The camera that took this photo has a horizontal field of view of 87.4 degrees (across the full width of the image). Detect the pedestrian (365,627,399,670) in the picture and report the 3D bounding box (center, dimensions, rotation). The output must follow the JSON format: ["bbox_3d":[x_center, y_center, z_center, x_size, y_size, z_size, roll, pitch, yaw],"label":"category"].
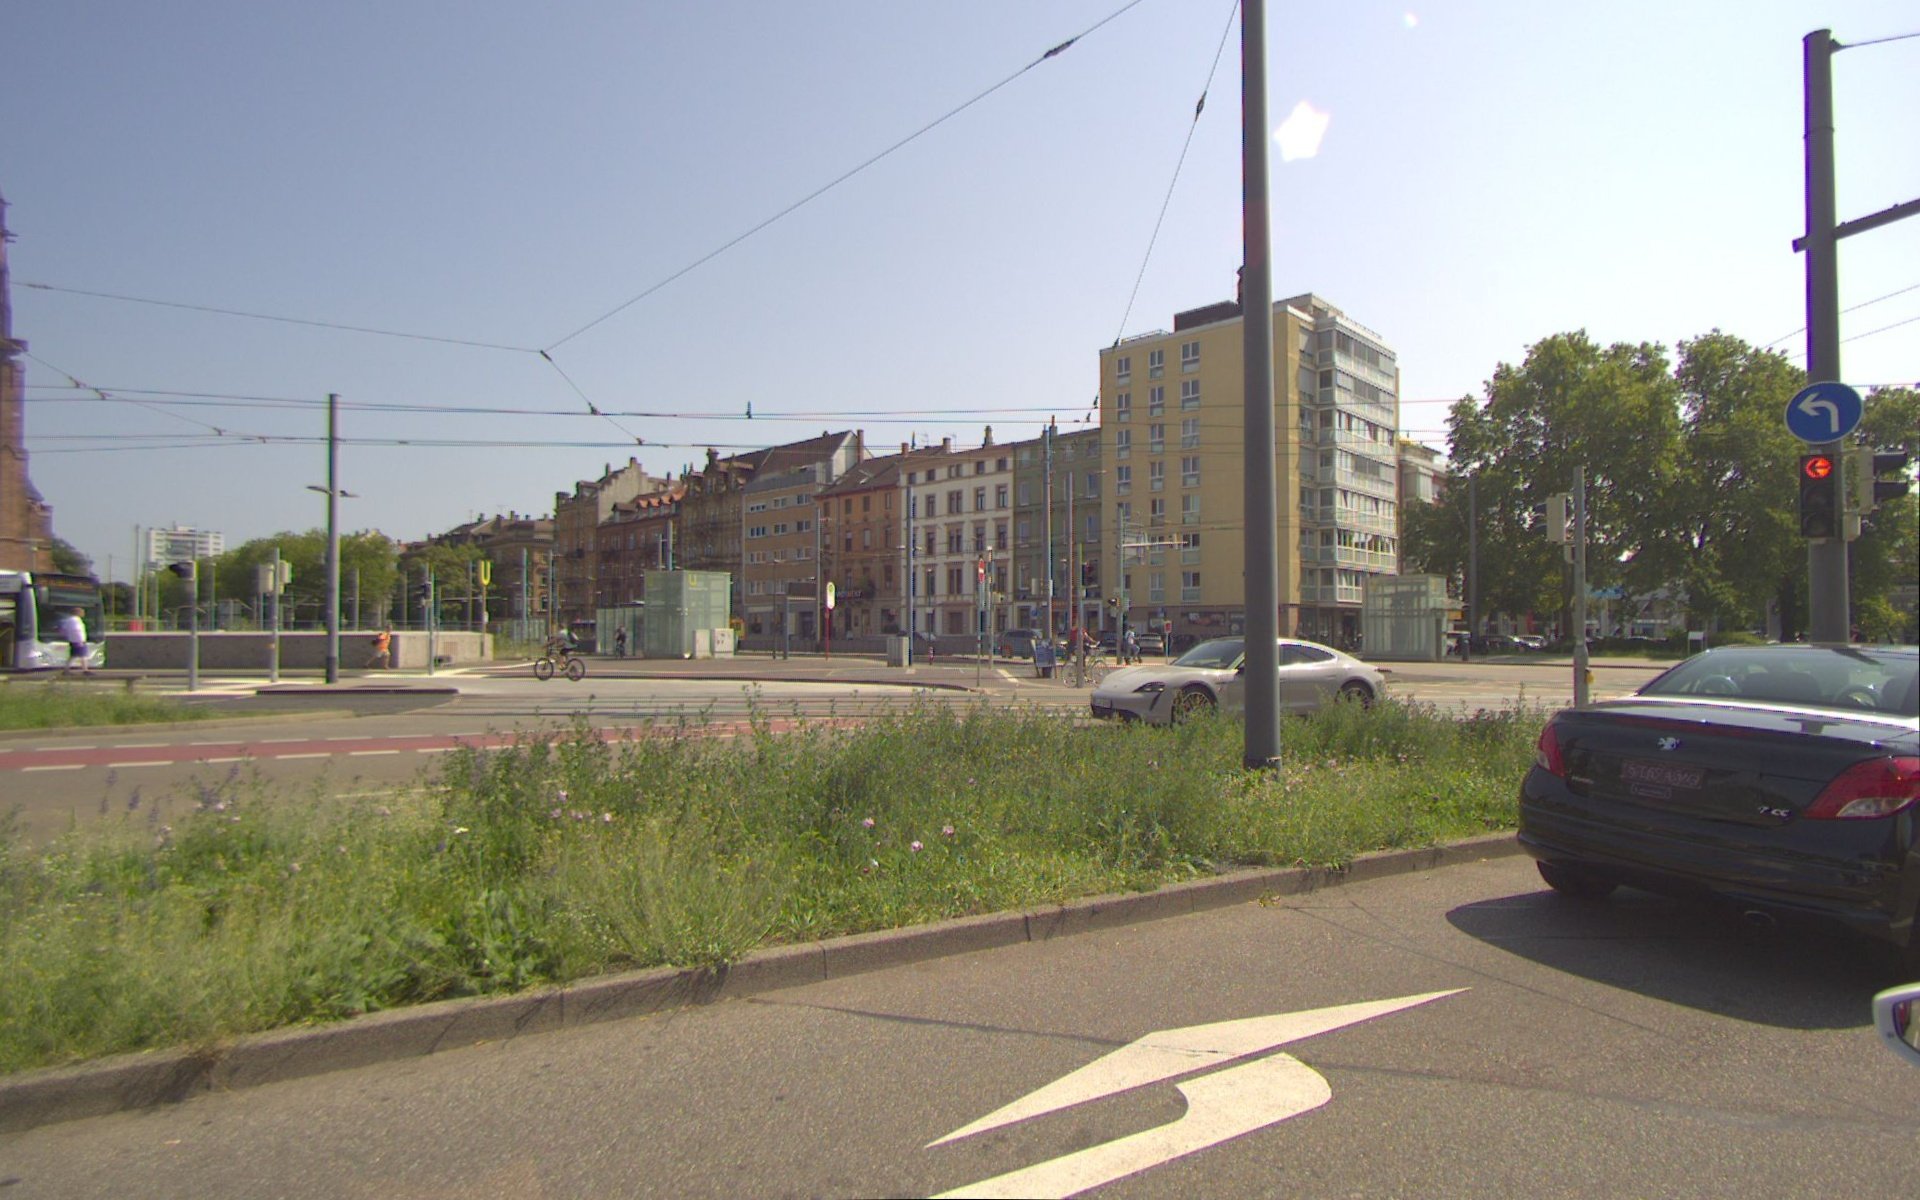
[{"bbox_3d":[-21.157,1.770,36.787,0.843,1.563,0.742,0,-1,-10],"label":"pedestrian"}]

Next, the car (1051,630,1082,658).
[{"bbox_3d":[7.311,2.983,68.447,1.767,1.843,4.003,0,-2,11],"label":"car"}]

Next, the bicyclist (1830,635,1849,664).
[{"bbox_3d":[40.216,2.263,45.930,0.554,1.310,0.540,1,-2,-40],"label":"bicyclist"}]

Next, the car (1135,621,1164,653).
[{"bbox_3d":[11.953,2.302,63.401,1.767,1.951,4.003,0,-2,11],"label":"car"}]

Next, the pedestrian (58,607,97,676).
[{"bbox_3d":[-23.859,1.107,27.170,0.631,1.835,0.597,2,0,-30],"label":"pedestrian"}]

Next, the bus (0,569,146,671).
[{"bbox_3d":[-30.767,0.569,28.663,12.101,2.748,3.405,0,-1,-1],"label":"bus"}]

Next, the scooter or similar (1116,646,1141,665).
[{"bbox_3d":[7.722,2.555,46.005,1.132,0.835,0.517,1,-2,-35],"label":"scooter or similar"}]

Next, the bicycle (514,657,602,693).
[{"bbox_3d":[-12.388,2.298,31.033,2.317,1.056,0.961,0,-2,-6],"label":"bicycle"}]

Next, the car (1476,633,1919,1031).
[{"bbox_3d":[4.784,0.913,5.314,3.730,1.406,1.760,1,0,-26],"label":"car"}]

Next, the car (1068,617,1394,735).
[{"bbox_3d":[4.186,1.096,15.545,4.646,1.606,1.990,1,-2,-22],"label":"car"}]

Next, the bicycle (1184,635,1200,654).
[{"bbox_3d":[16.205,3.094,70.163,0.680,1.220,3.265,0,-2,5],"label":"bicycle"}]

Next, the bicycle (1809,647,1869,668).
[{"bbox_3d":[40.216,2.622,45.986,0.464,0.954,2.015,1,-2,-41],"label":"bicycle"}]

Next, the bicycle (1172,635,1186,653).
[{"bbox_3d":[15.456,3.091,70.934,0.680,1.220,2.793,0,-2,5],"label":"bicycle"}]

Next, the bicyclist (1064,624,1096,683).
[{"bbox_3d":[3.143,1.382,26.260,0.632,1.529,0.553,1,-1,-35],"label":"bicyclist"}]

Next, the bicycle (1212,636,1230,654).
[{"bbox_3d":[17.744,3.062,68.426,0.680,1.220,3.265,0,-2,5],"label":"bicycle"}]

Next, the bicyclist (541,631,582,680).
[{"bbox_3d":[-12.286,1.694,30.964,0.989,1.446,0.655,2,0,-5],"label":"bicyclist"}]

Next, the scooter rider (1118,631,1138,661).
[{"bbox_3d":[7.711,2.093,46.131,0.602,1.371,0.682,1,-1,-34],"label":"scooter rider"}]

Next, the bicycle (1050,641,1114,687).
[{"bbox_3d":[3.148,1.641,26.117,0.499,1.108,1.918,1,-2,-35],"label":"bicycle"}]

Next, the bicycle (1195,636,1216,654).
[{"bbox_3d":[16.956,3.101,69.480,0.892,1.220,3.265,0,-2,5],"label":"bicycle"}]
